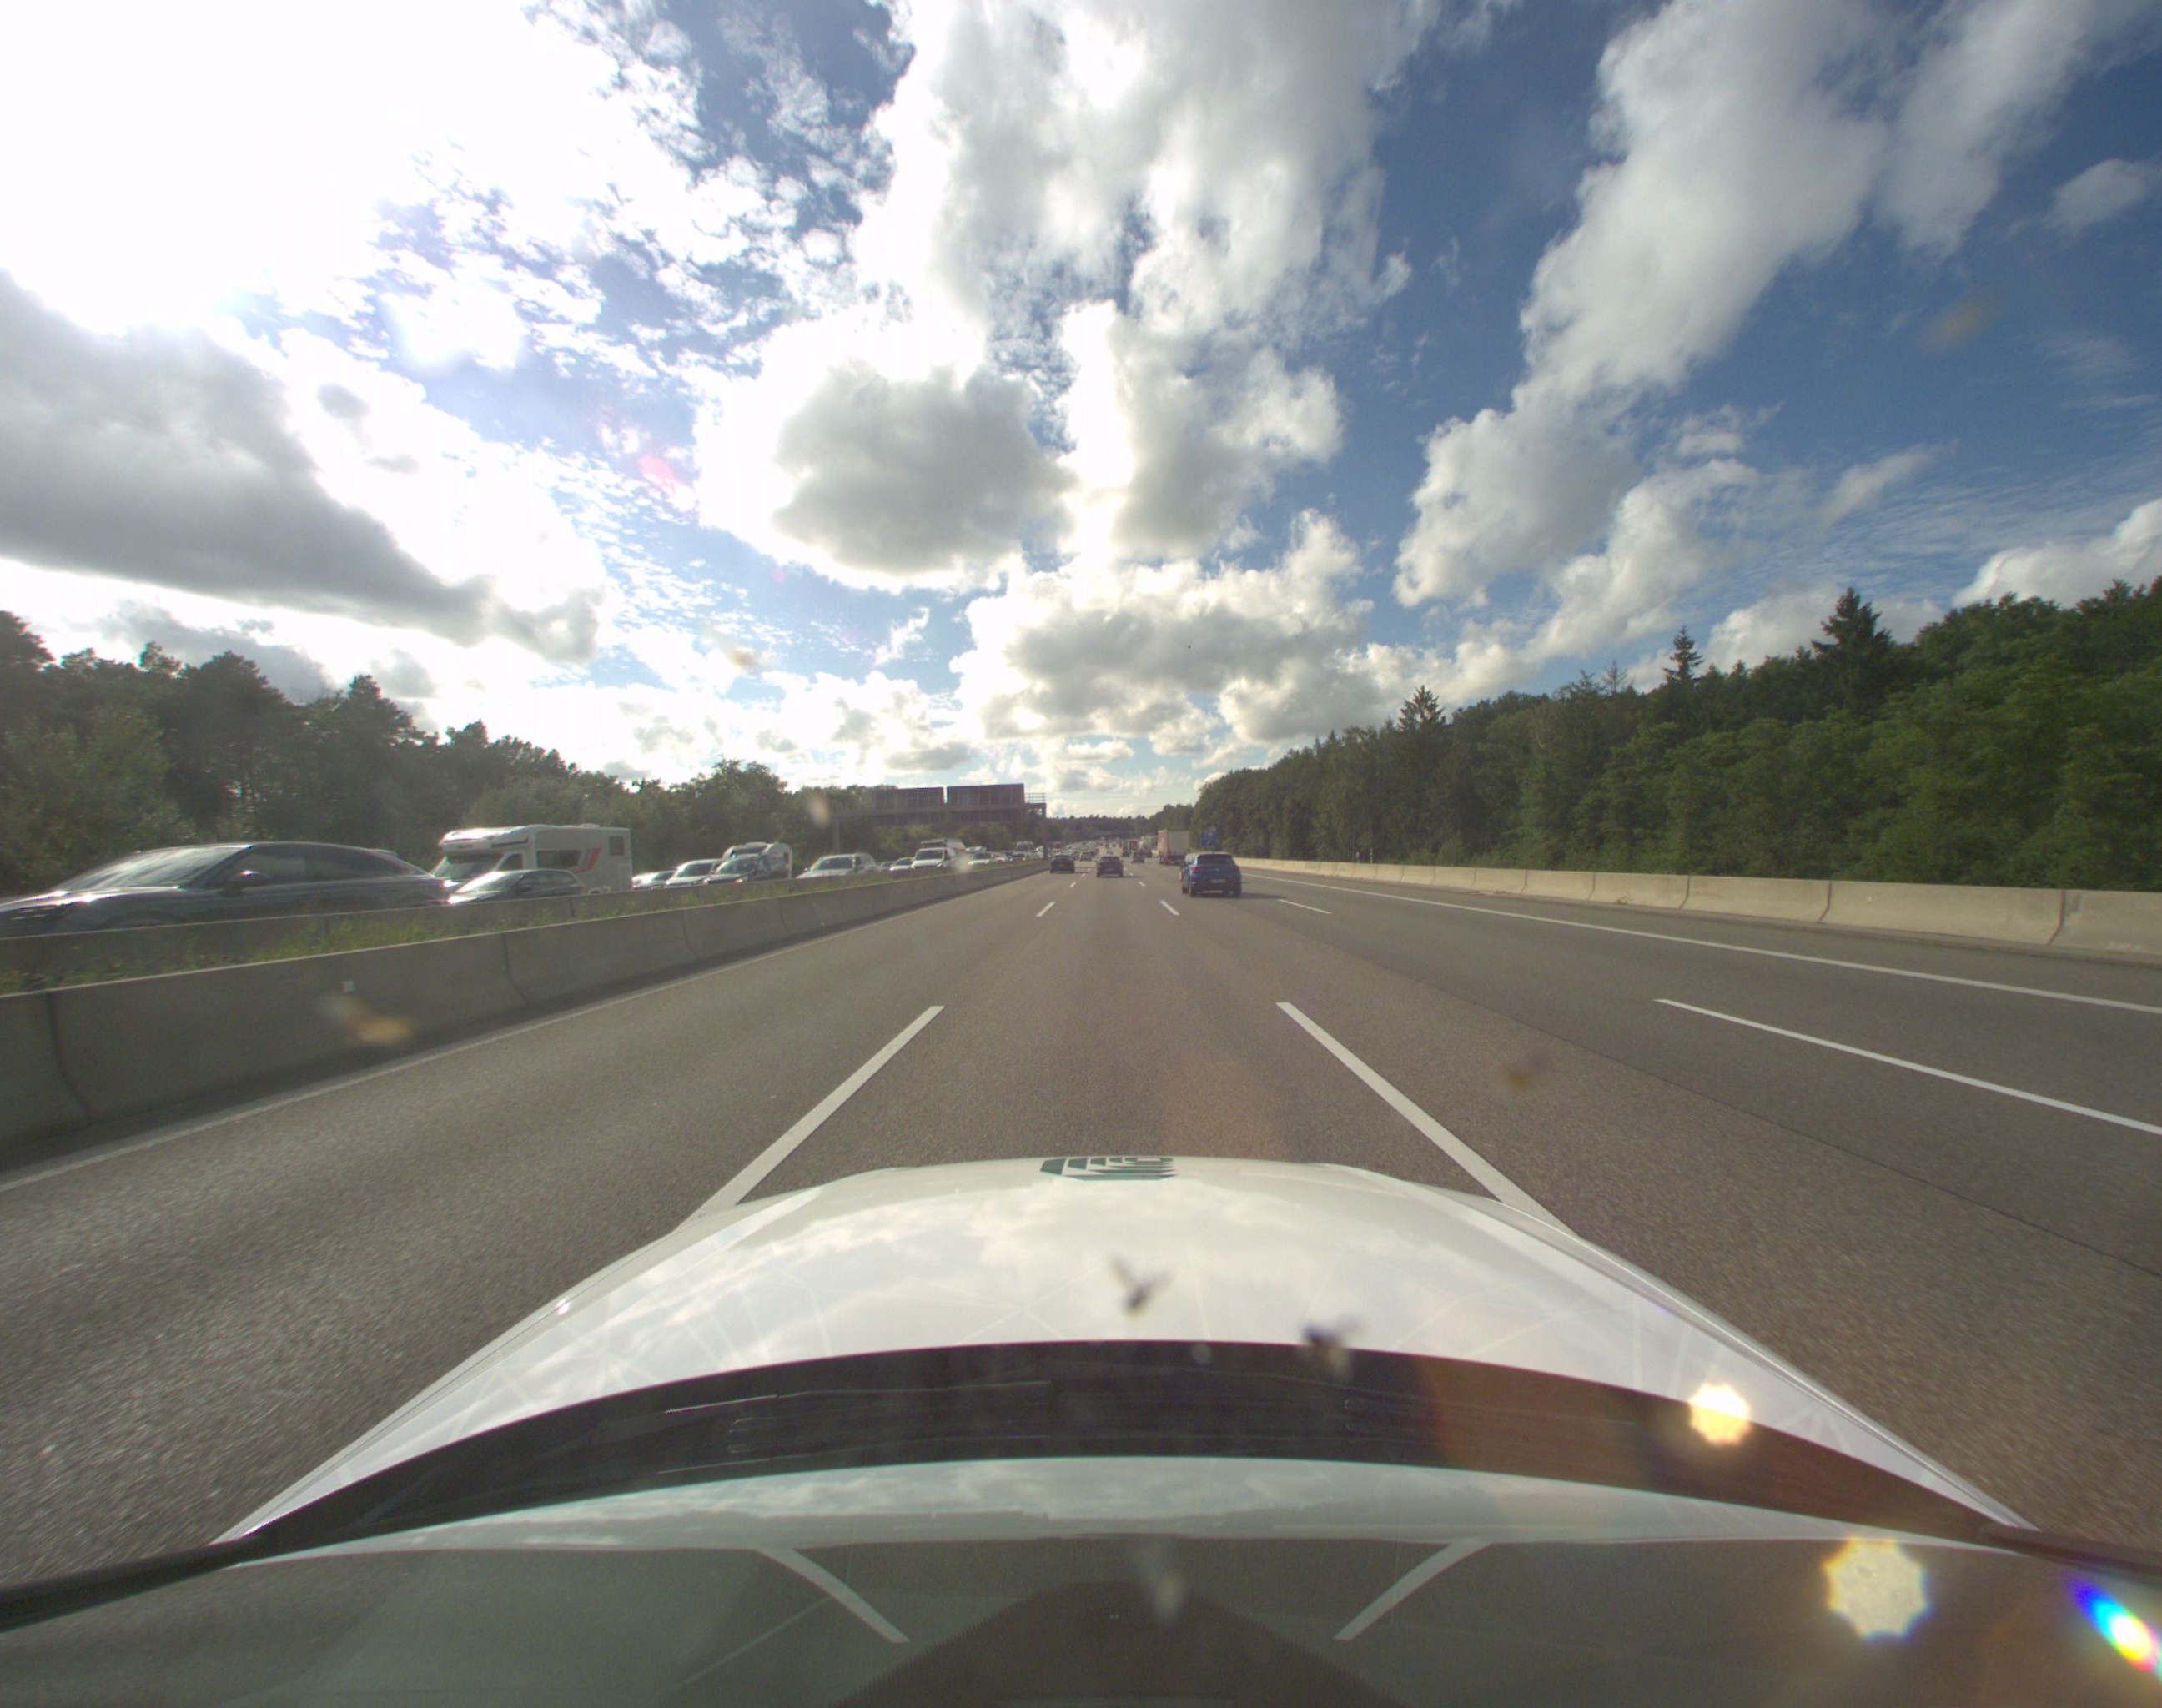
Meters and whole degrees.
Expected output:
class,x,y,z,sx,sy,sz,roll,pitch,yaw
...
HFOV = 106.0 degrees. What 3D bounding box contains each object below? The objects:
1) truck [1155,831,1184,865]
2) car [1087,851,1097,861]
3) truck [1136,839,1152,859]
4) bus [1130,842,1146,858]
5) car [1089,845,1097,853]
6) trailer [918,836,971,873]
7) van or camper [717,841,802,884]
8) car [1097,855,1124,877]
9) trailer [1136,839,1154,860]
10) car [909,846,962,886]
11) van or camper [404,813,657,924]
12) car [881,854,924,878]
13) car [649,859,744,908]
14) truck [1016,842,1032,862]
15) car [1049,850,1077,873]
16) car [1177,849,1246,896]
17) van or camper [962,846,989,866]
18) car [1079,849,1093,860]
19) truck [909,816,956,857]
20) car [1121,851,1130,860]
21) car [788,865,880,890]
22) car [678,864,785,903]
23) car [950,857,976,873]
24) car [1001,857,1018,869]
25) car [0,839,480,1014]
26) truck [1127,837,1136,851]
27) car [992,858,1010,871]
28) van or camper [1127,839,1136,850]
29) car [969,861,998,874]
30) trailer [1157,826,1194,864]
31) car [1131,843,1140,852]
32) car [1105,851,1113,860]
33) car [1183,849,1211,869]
class,x,y,z,sx,sy,sz,roll,pitch,yaw
truck,11.011,-0.657,101.341,3.069,4.063,6.071,0,-1,1
car,2.391,0.361,171.041,1.986,2.014,4.001,0,-1,1
truck,13.554,-1.081,176.539,3.034,4.160,7.129,-1,0,2
bus,7.718,-0.522,110.317,1.986,2.014,4.002,0,-1,2
car,3.192,-1.187,211.375,1.986,2.013,4.002,-1,0,2
trailer,-15.028,0.016,90.998,3.399,3.828,13.265,0,0,2
van or camper,-16.054,0.404,41.003,2.275,2.011,4.690,0,0,2
car,1.918,0.752,53.836,1.728,1.365,4.000,0,0,0
trailer,13.394,-0.892,170.357,3.025,4.016,12.248,-1,0,1
car,-8.142,0.637,46.021,1.825,2.062,5.502,-2,0,1
van or camper,-16.425,0.467,25.158,2.460,2.890,7.484,0,-1,2
car,-11.849,0.778,54.345,1.825,1.537,4.244,0,0,1
car,-16.217,1.175,34.653,1.825,1.915,4.483,-1,0,1
truck,-11.970,-0.467,171.206,2.842,4.234,5.715,0,0,2
car,-1.407,0.554,65.394,1.986,1.776,4.002,-1,0,2
car,4.620,0.650,29.534,1.916,1.541,4.647,-1,-1,2
van or camper,-13.939,0.300,108.177,2.316,2.643,7.400,0,-1,2
car,0.878,0.094,133.709,2.146,1.776,4.002,0,0,2
truck,-15.229,-1.718,84.047,3.405,3.900,6.803,-2,0,1
car,9.592,0.280,175.457,1.986,2.013,4.001,0,0,1
car,-8.164,0.754,27.375,1.641,0.724,4.448,-1,0,1
car,-12.553,1.003,29.582,1.825,1.230,4.567,-1,0,1
car,-11.343,1.040,78.455,1.825,1.537,4.244,0,0,1
car,-9.917,1.208,112.632,1.793,1.631,4.664,1,0,2
car,-9.372,0.596,8.940,1.825,1.387,4.904,-1,0,1
truck,14.109,-2.713,227.967,2.348,3.572,11.274,0,-1,3
car,-10.281,1.326,105.149,1.825,1.537,4.244,0,0,1
van or camper,14.517,-2.643,235.166,2.342,3.144,5.714,0,-1,3
car,-7.481,1.011,62.747,1.637,0.940,4.489,0,0,1
trailer,10.812,-0.893,94.487,3.027,4.035,13.894,0,-1,2
car,13.604,-1.612,202.979,1.986,2.014,4.001,0,-1,1
car,6.569,0.313,191.035,1.986,2.014,4.001,-2,-1,1
car,9.335,0.406,65.604,1.708,1.511,4.303,-2,0,2
